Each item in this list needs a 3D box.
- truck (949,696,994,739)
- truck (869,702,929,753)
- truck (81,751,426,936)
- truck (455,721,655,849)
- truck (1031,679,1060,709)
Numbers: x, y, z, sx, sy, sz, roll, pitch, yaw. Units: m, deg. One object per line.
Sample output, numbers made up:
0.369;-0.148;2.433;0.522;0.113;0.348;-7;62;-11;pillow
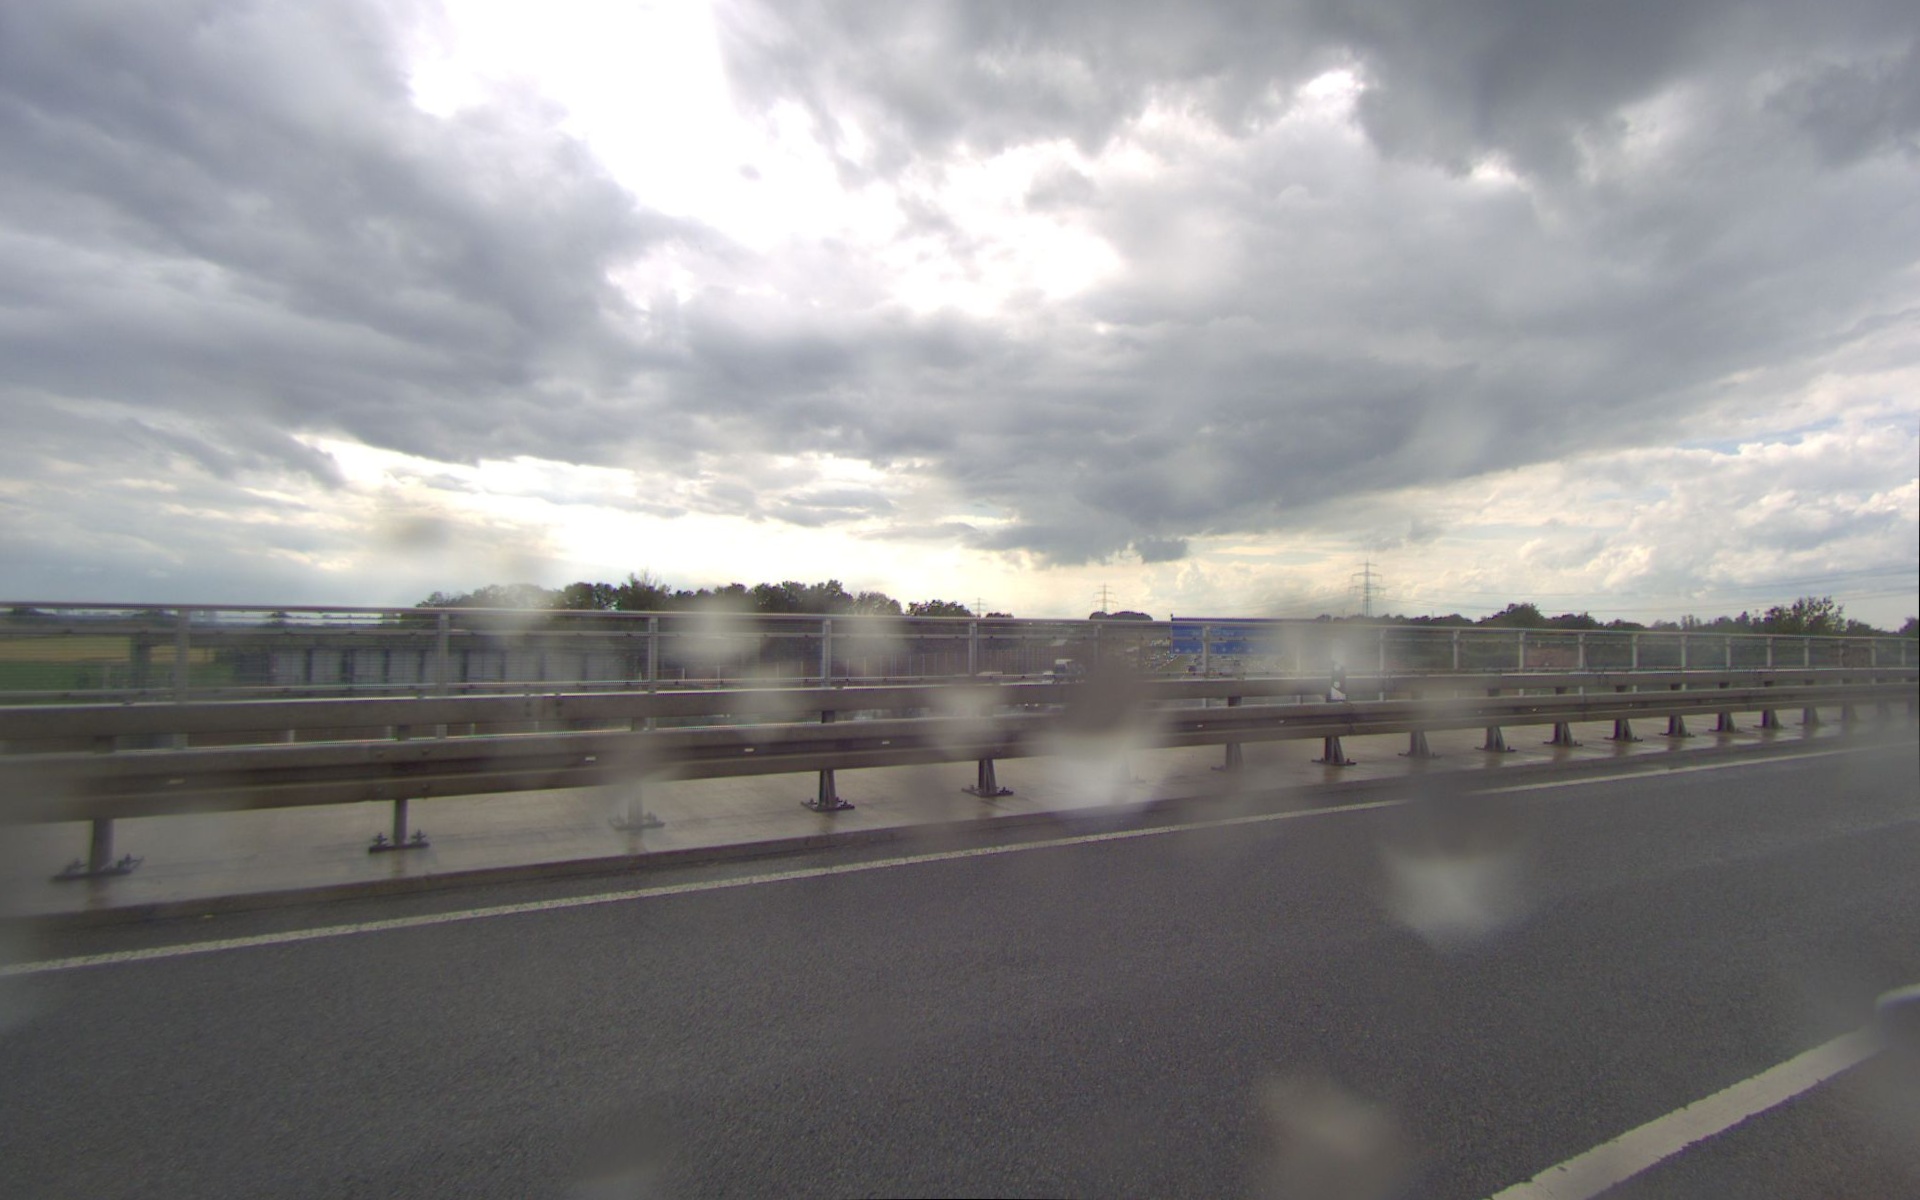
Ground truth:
1.468;13.759;118.703;2.388;3.812;11.174;2;0;16;truck
-6.153;13.006;103.445;2.388;3.812;11.174;2;0;16;truck
-24.904;8.361;36.637;2.388;4.055;11.174;2;0;16;truck
-18.904;8.507;48.093;2.388;4.055;11.174;2;0;16;truck
13.948;15.110;162.859;2.388;3.812;11.174;2;0;16;truck
